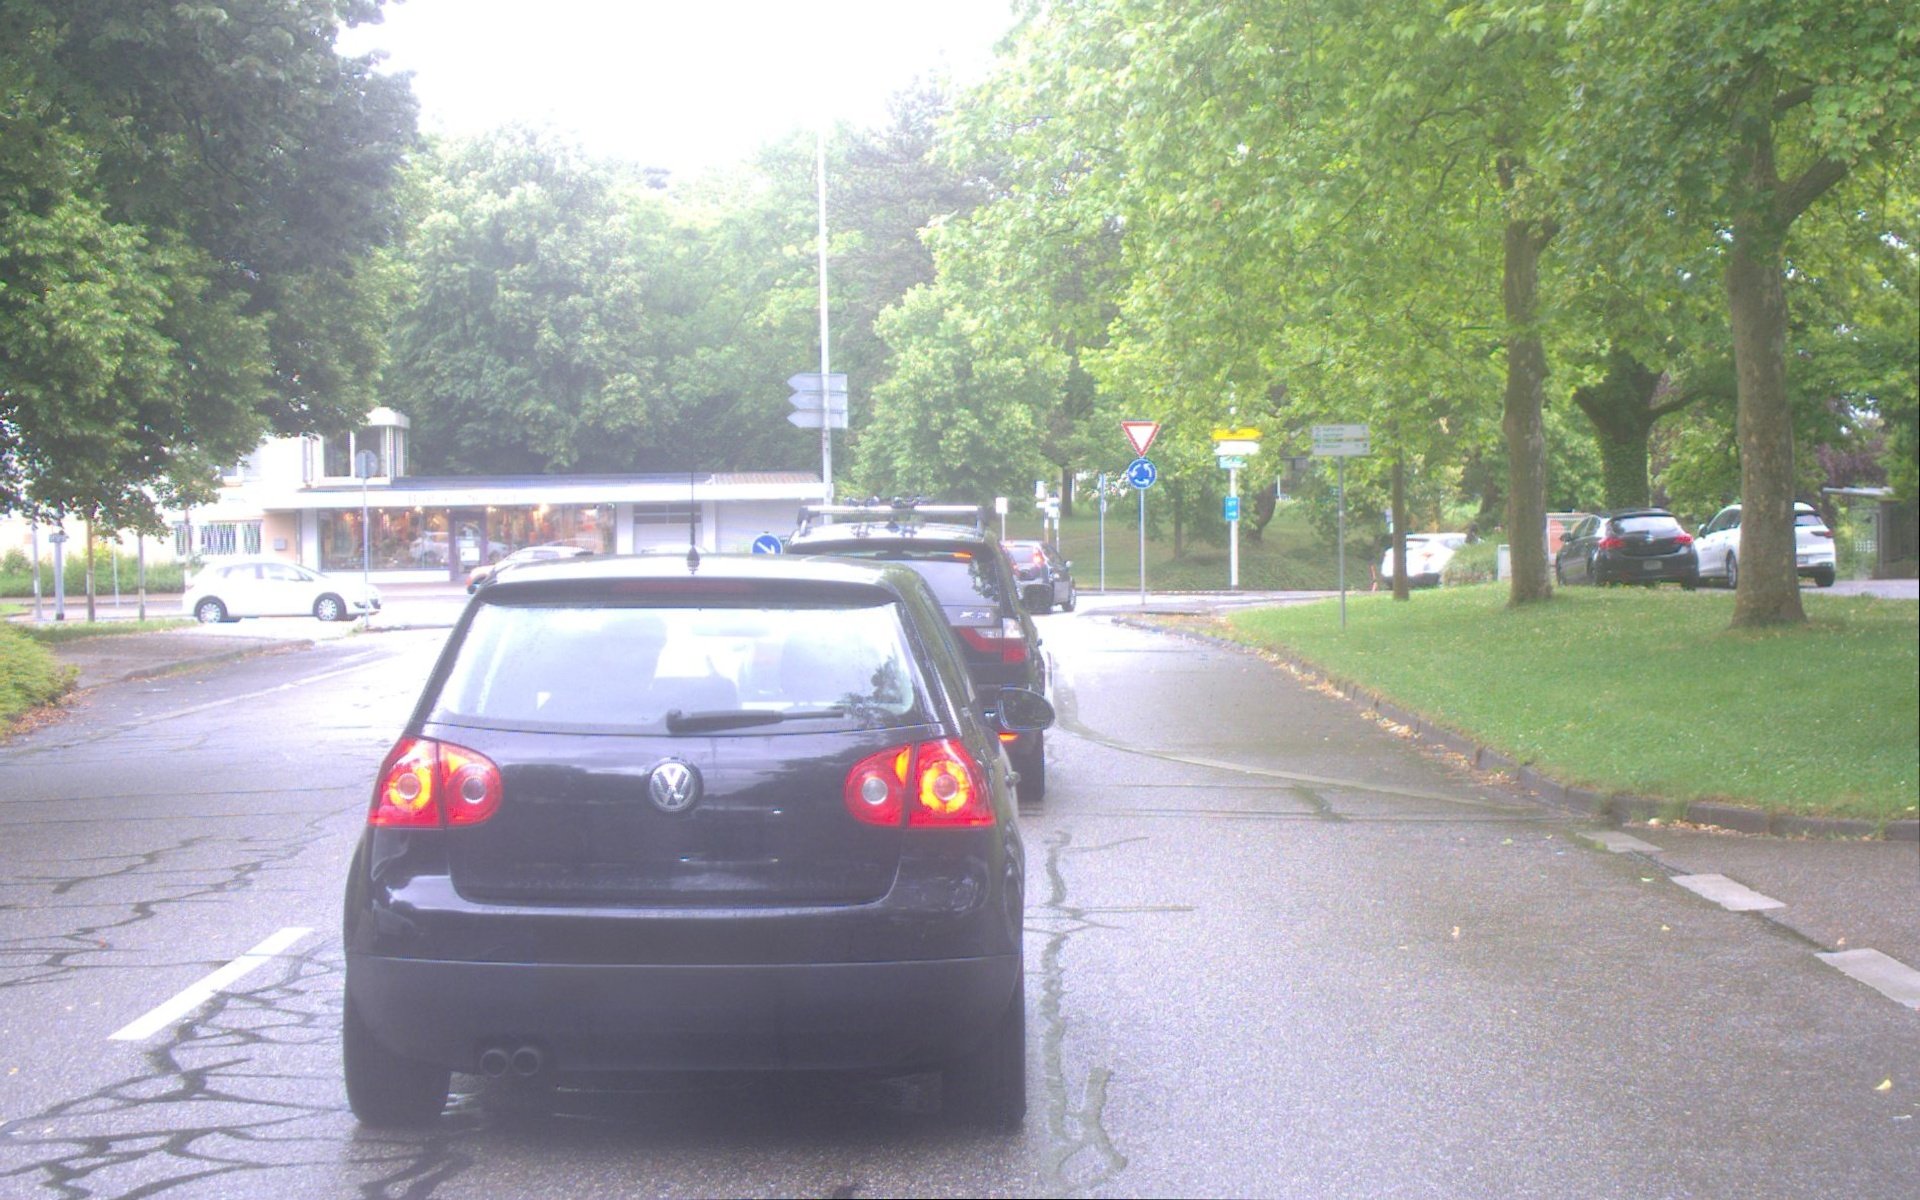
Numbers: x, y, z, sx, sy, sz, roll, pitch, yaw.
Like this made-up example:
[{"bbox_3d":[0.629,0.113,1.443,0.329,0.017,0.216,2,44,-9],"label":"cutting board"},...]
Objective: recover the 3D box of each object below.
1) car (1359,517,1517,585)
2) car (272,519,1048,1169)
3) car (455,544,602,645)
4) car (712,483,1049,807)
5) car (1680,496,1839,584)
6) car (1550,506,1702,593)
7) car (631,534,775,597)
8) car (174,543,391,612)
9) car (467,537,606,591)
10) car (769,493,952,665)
[{"bbox_3d":[12.777,-1.322,91.777,3.989,1.700,1.999,-2,1,-40],"label":"car"},{"bbox_3d":[-0.683,0.537,9.863,1.799,1.510,3.754,0,1,0],"label":"car"},{"bbox_3d":[-6.480,-0.111,51.951,1.797,1.388,3.979,-3,1,-2],"label":"car"},{"bbox_3d":[-0.429,0.227,21.158,1.855,1.778,4.000,-1,1,0],"label":"car"},{"bbox_3d":[13.906,-1.058,60.007,1.803,1.401,4.000,-3,1,0],"label":"car"},{"bbox_3d":[11.537,-0.896,59.771,1.803,1.381,4.000,-3,1,0],"label":"car"},{"bbox_3d":[-5.714,-0.771,76.349,3.119,1.305,1.540,-2,1,-4],"label":"car"},{"bbox_3d":[-15.237,-0.516,77.458,4.495,1.414,1.847,-2,1,0],"label":"car"},{"bbox_3d":[-12.446,-1.066,101.104,3.665,1.508,1.710,-1,1,20],"label":"car"},{"bbox_3d":[-1.051,-0.234,38.087,1.855,1.778,4.000,-1,0,0],"label":"car"}]
